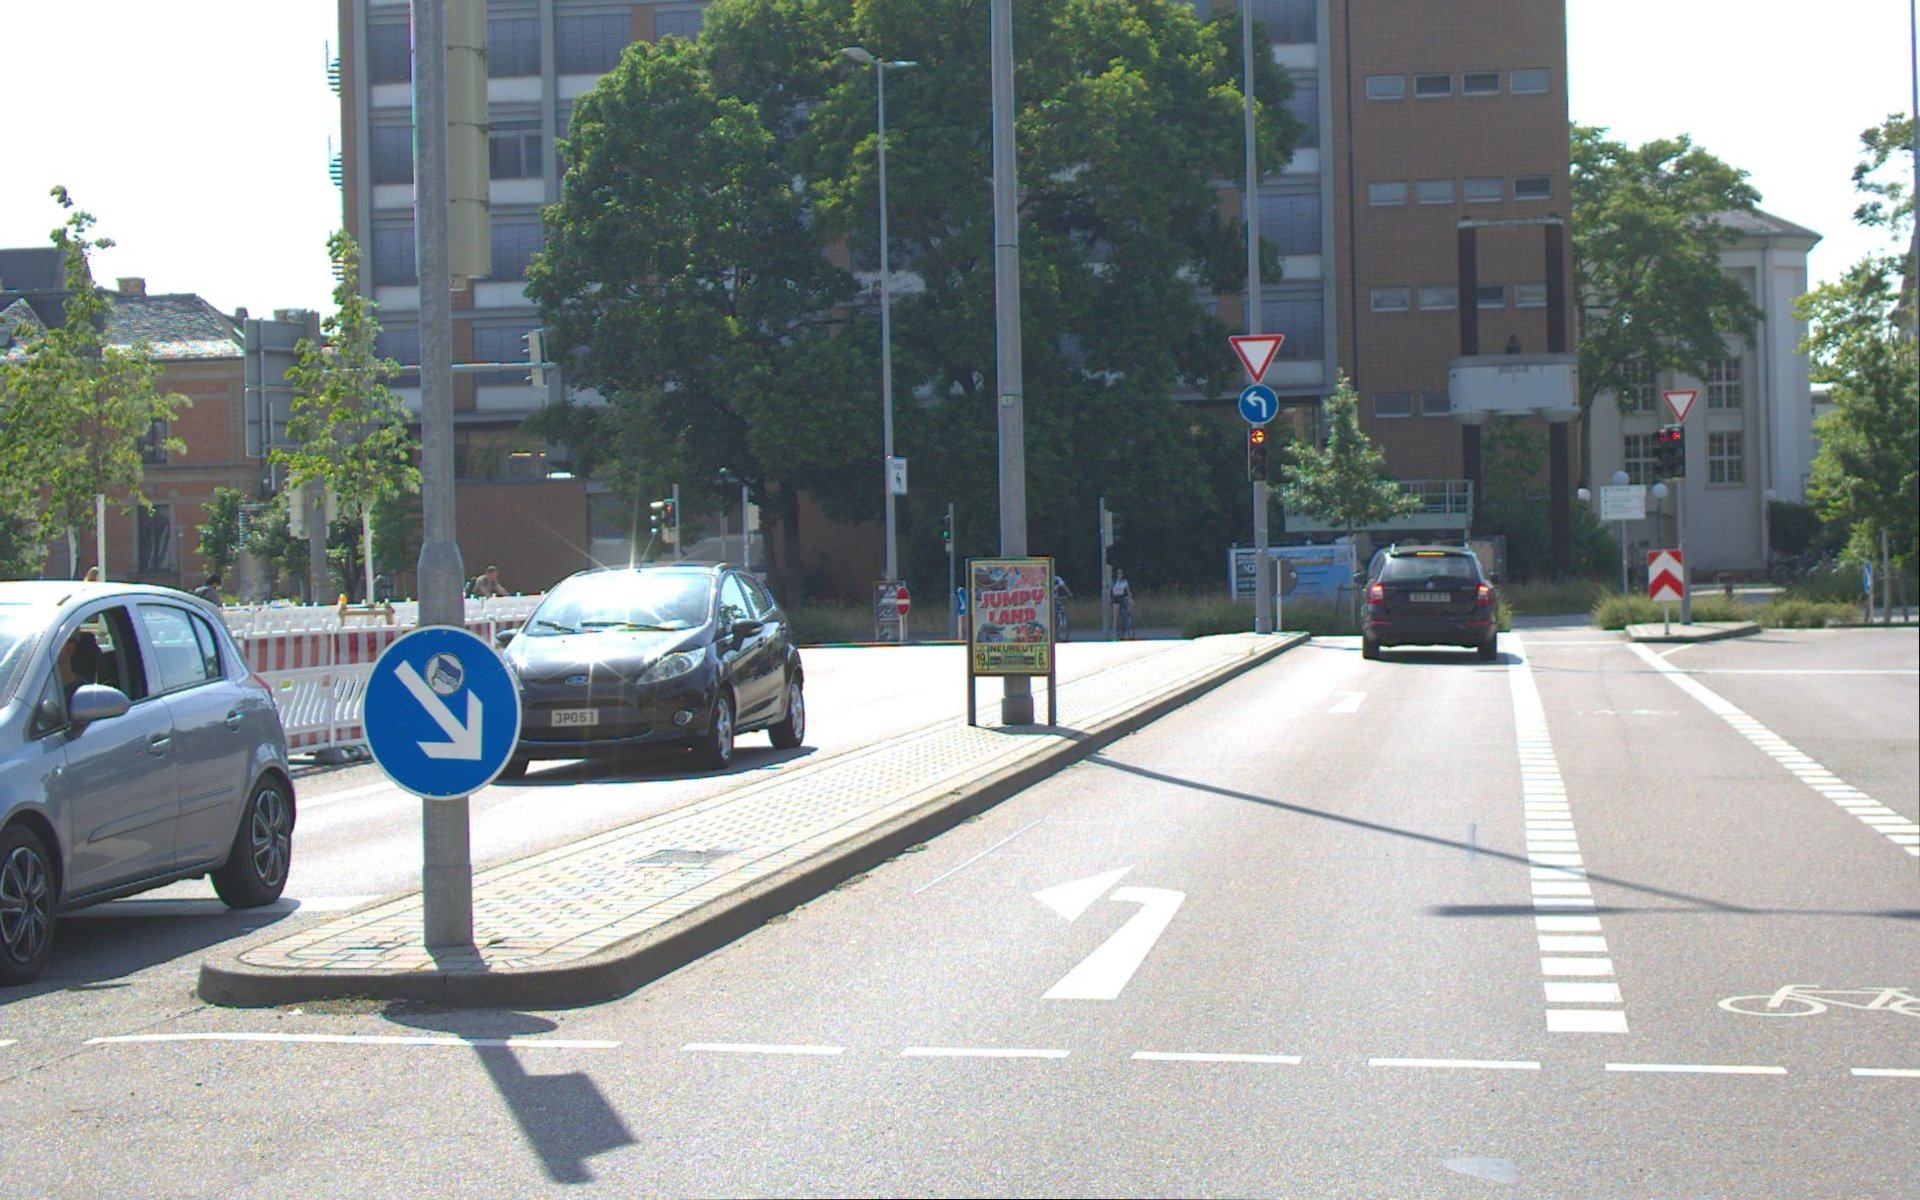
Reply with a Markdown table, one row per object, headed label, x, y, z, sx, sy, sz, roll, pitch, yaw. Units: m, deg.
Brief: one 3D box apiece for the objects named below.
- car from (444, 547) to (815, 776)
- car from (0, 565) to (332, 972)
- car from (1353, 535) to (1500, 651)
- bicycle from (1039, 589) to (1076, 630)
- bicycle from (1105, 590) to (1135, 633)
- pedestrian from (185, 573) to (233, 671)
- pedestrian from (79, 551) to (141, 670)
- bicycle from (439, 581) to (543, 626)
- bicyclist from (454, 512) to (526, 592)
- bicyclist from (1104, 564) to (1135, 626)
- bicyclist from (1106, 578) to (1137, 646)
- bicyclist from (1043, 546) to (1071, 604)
| label | x | y | z | sx | sy | sz | roll | pitch | yaw |
| --- | --- | --- | --- | --- | --- | --- | --- | --- | --- |
| car | -2.279 | 0.383 | 24.707 | 1.667 | 1.446 | 3.816 | -3 | 0 | 9 |
| car | -4.054 | 0.619 | 13.560 | 1.794 | 1.407 | 3.999 | -3 | 0 | 9 |
| car | 6.138 | -0.117 | 44.957 | 1.780 | 1.438 | 3.816 | 0 | 1 | 9 |
| bicycle | 2.415 | 0.222 | 85.207 | 0.704 | 0.974 | 2.030 | -2 | 1 | 7 |
| bicycle | 3.850 | 0.275 | 82.509 | 0.618 | 0.957 | 1.968 | -4 | 0 | 4 |
| pedestrian | -11.658 | 0.338 | 53.390 | 0.630 | 1.486 | 0.617 | -2 | 0 | -7 |
| pedestrian | -12.838 | 0.161 | 51.964 | 0.736 | 1.746 | 1.111 | -2 | -2 | -7 |
| bicycle | -8.862 | 0.068 | 64.914 | 1.892 | 0.790 | 0.560 | -1 | 2 | 22 |
| bicyclist | -8.869 | -0.910 | 64.902 | 1.166 | 1.469 | 0.563 | -1 | 1 | 22 |
| bicyclist | 3.823 | -0.125 | 82.508 | 0.618 | 1.438 | 0.920 | -4 | 0 | 4 |
| bicyclist | 3.873 | 0.273 | 82.507 | 0.618 | 1.576 | 1.014 | -4 | 0 | 4 |
| bicyclist | 2.391 | -0.610 | 85.033 | 0.539 | 1.412 | 1.030 | -2 | -1 | 7 |
